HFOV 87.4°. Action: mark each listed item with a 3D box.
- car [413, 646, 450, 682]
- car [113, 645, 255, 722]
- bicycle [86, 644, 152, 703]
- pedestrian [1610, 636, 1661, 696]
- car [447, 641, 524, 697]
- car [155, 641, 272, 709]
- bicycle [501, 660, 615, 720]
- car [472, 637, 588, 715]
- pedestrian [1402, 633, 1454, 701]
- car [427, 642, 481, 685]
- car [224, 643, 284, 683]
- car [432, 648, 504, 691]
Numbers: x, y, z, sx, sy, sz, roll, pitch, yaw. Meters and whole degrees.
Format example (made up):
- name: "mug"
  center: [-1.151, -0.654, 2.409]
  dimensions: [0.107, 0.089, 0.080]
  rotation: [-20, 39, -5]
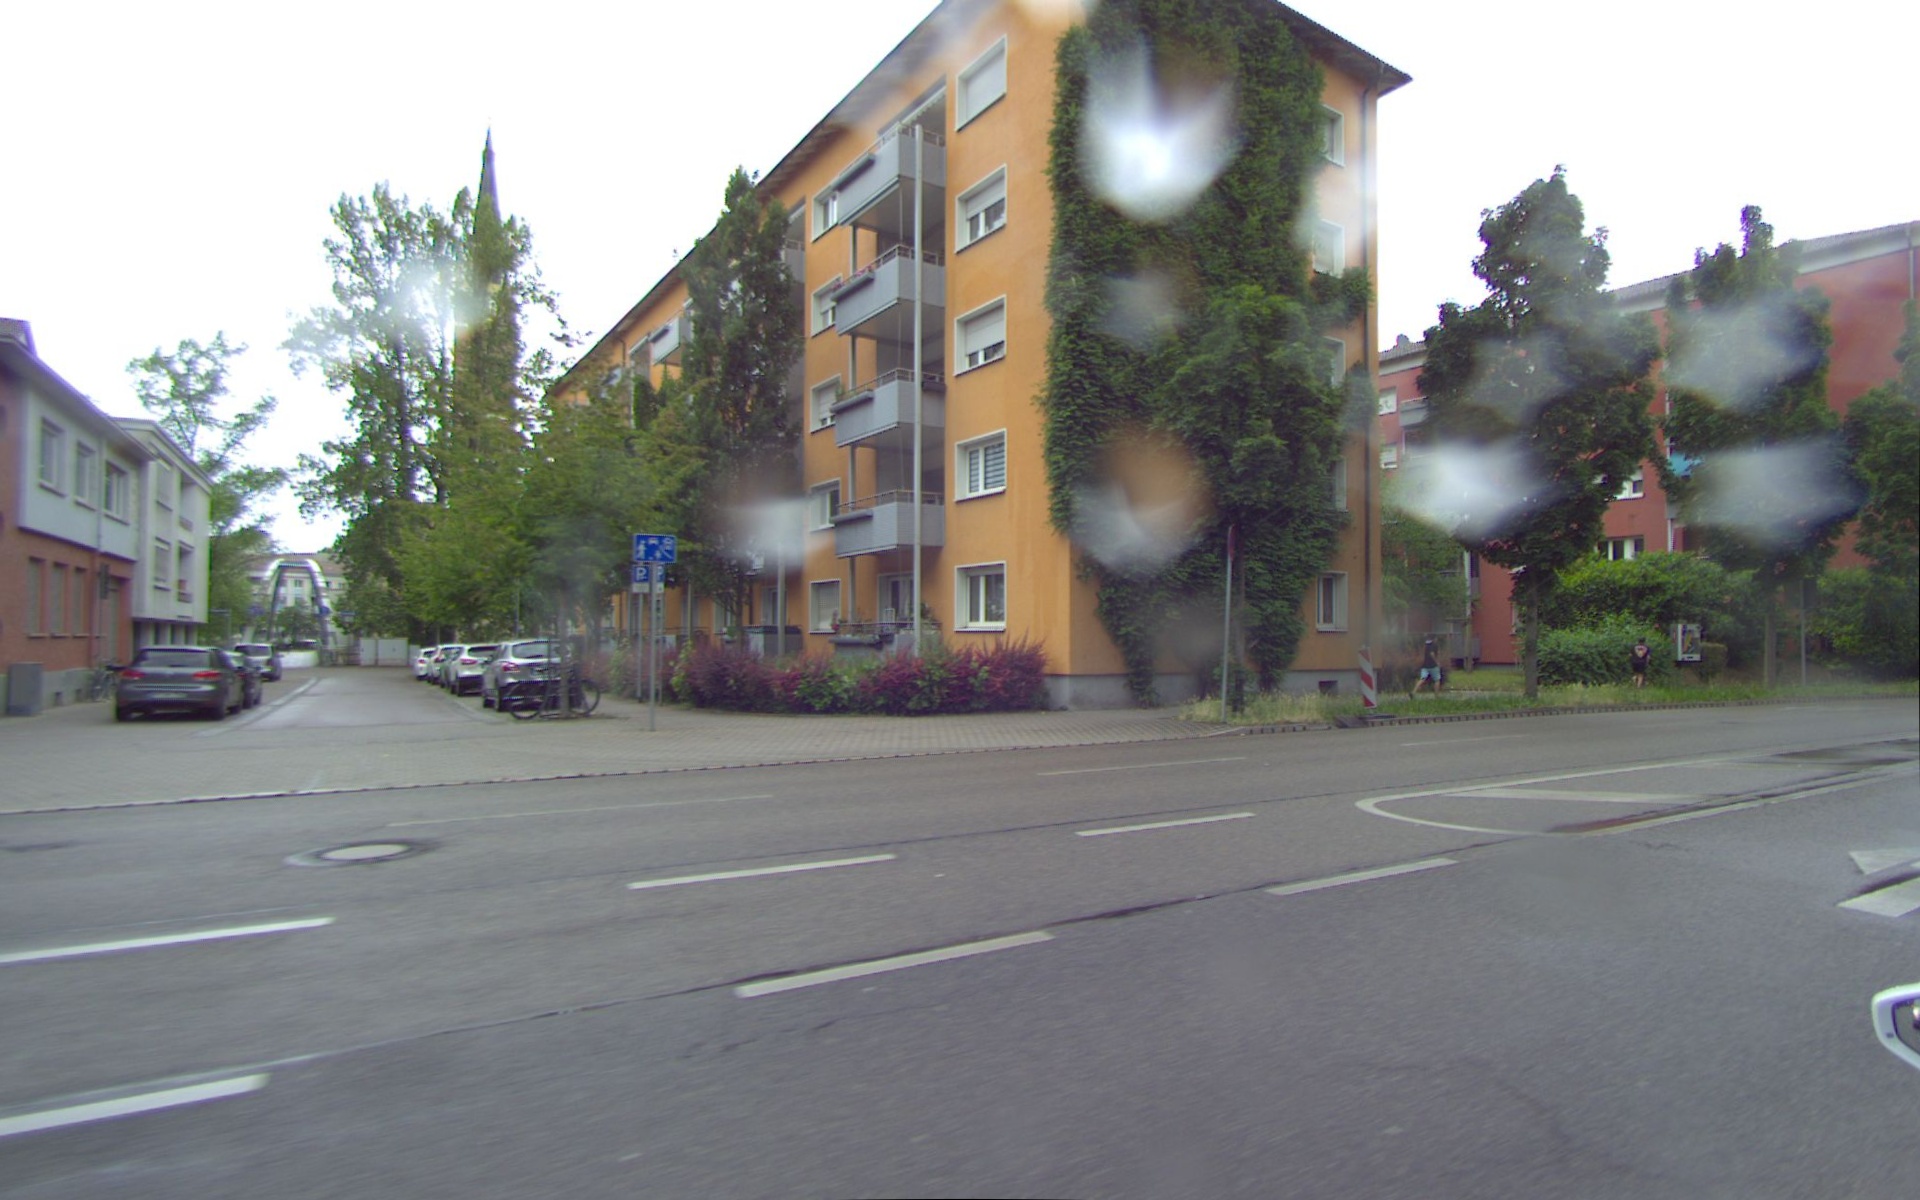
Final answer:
- name: "car"
  center: [-25.205, 3.028, 47.870]
  dimensions: [1.228, 1.617, 3.094]
  rotation: [2, -3, -33]
- name: "car"
  center: [-16.105, 1.712, 21.050]
  dimensions: [1.884, 1.430, 3.966]
  rotation: [3, -4, -32]
- name: "bicycle"
  center: [-22.036, 1.899, 26.369]
  dimensions: [0.852, 1.449, 2.737]
  rotation: [1, -3, -31]
- name: "pedestrian"
  center: [17.765, 1.721, 26.418]
  dimensions: [1.056, 1.537, 0.689]
  rotation: [1, -3, -28]
- name: "car"
  center: [-15.179, 2.165, 32.053]
  dimensions: [1.831, 1.683, 3.820]
  rotation: [2, -3, -31]
- name: "car"
  center: [-18.588, 1.866, 25.176]
  dimensions: [1.905, 1.505, 3.966]
  rotation: [5, -5, -32]
- name: "bicycle"
  center: [-7.571, 1.673, 18.976]
  dimensions: [1.919, 1.072, 0.526]
  rotation: [2, -3, -39]
- name: "car"
  center: [-10.197, 1.727, 23.661]
  dimensions: [1.882, 1.613, 3.965]
  rotation: [0, -2, -33]
- name: "pedestrian"
  center: [10.420, 1.483, 22.370]
  dimensions: [0.825, 1.468, 0.668]
  rotation: [1, -2, -28]
- name: "car"
  center: [-21.692, 2.702, 42.994]
  dimensions: [1.765, 1.737, 3.674]
  rotation: [1, -3, -31]
- name: "car"
  center: [-31.197, 2.756, 44.484]
  dimensions: [1.831, 1.683, 3.820]
  rotation: [2, -3, -31]
- name: "car"
  center: [-18.250, 2.522, 37.184]
  dimensions: [1.979, 1.494, 3.965]
  rotation: [1, -3, -33]
